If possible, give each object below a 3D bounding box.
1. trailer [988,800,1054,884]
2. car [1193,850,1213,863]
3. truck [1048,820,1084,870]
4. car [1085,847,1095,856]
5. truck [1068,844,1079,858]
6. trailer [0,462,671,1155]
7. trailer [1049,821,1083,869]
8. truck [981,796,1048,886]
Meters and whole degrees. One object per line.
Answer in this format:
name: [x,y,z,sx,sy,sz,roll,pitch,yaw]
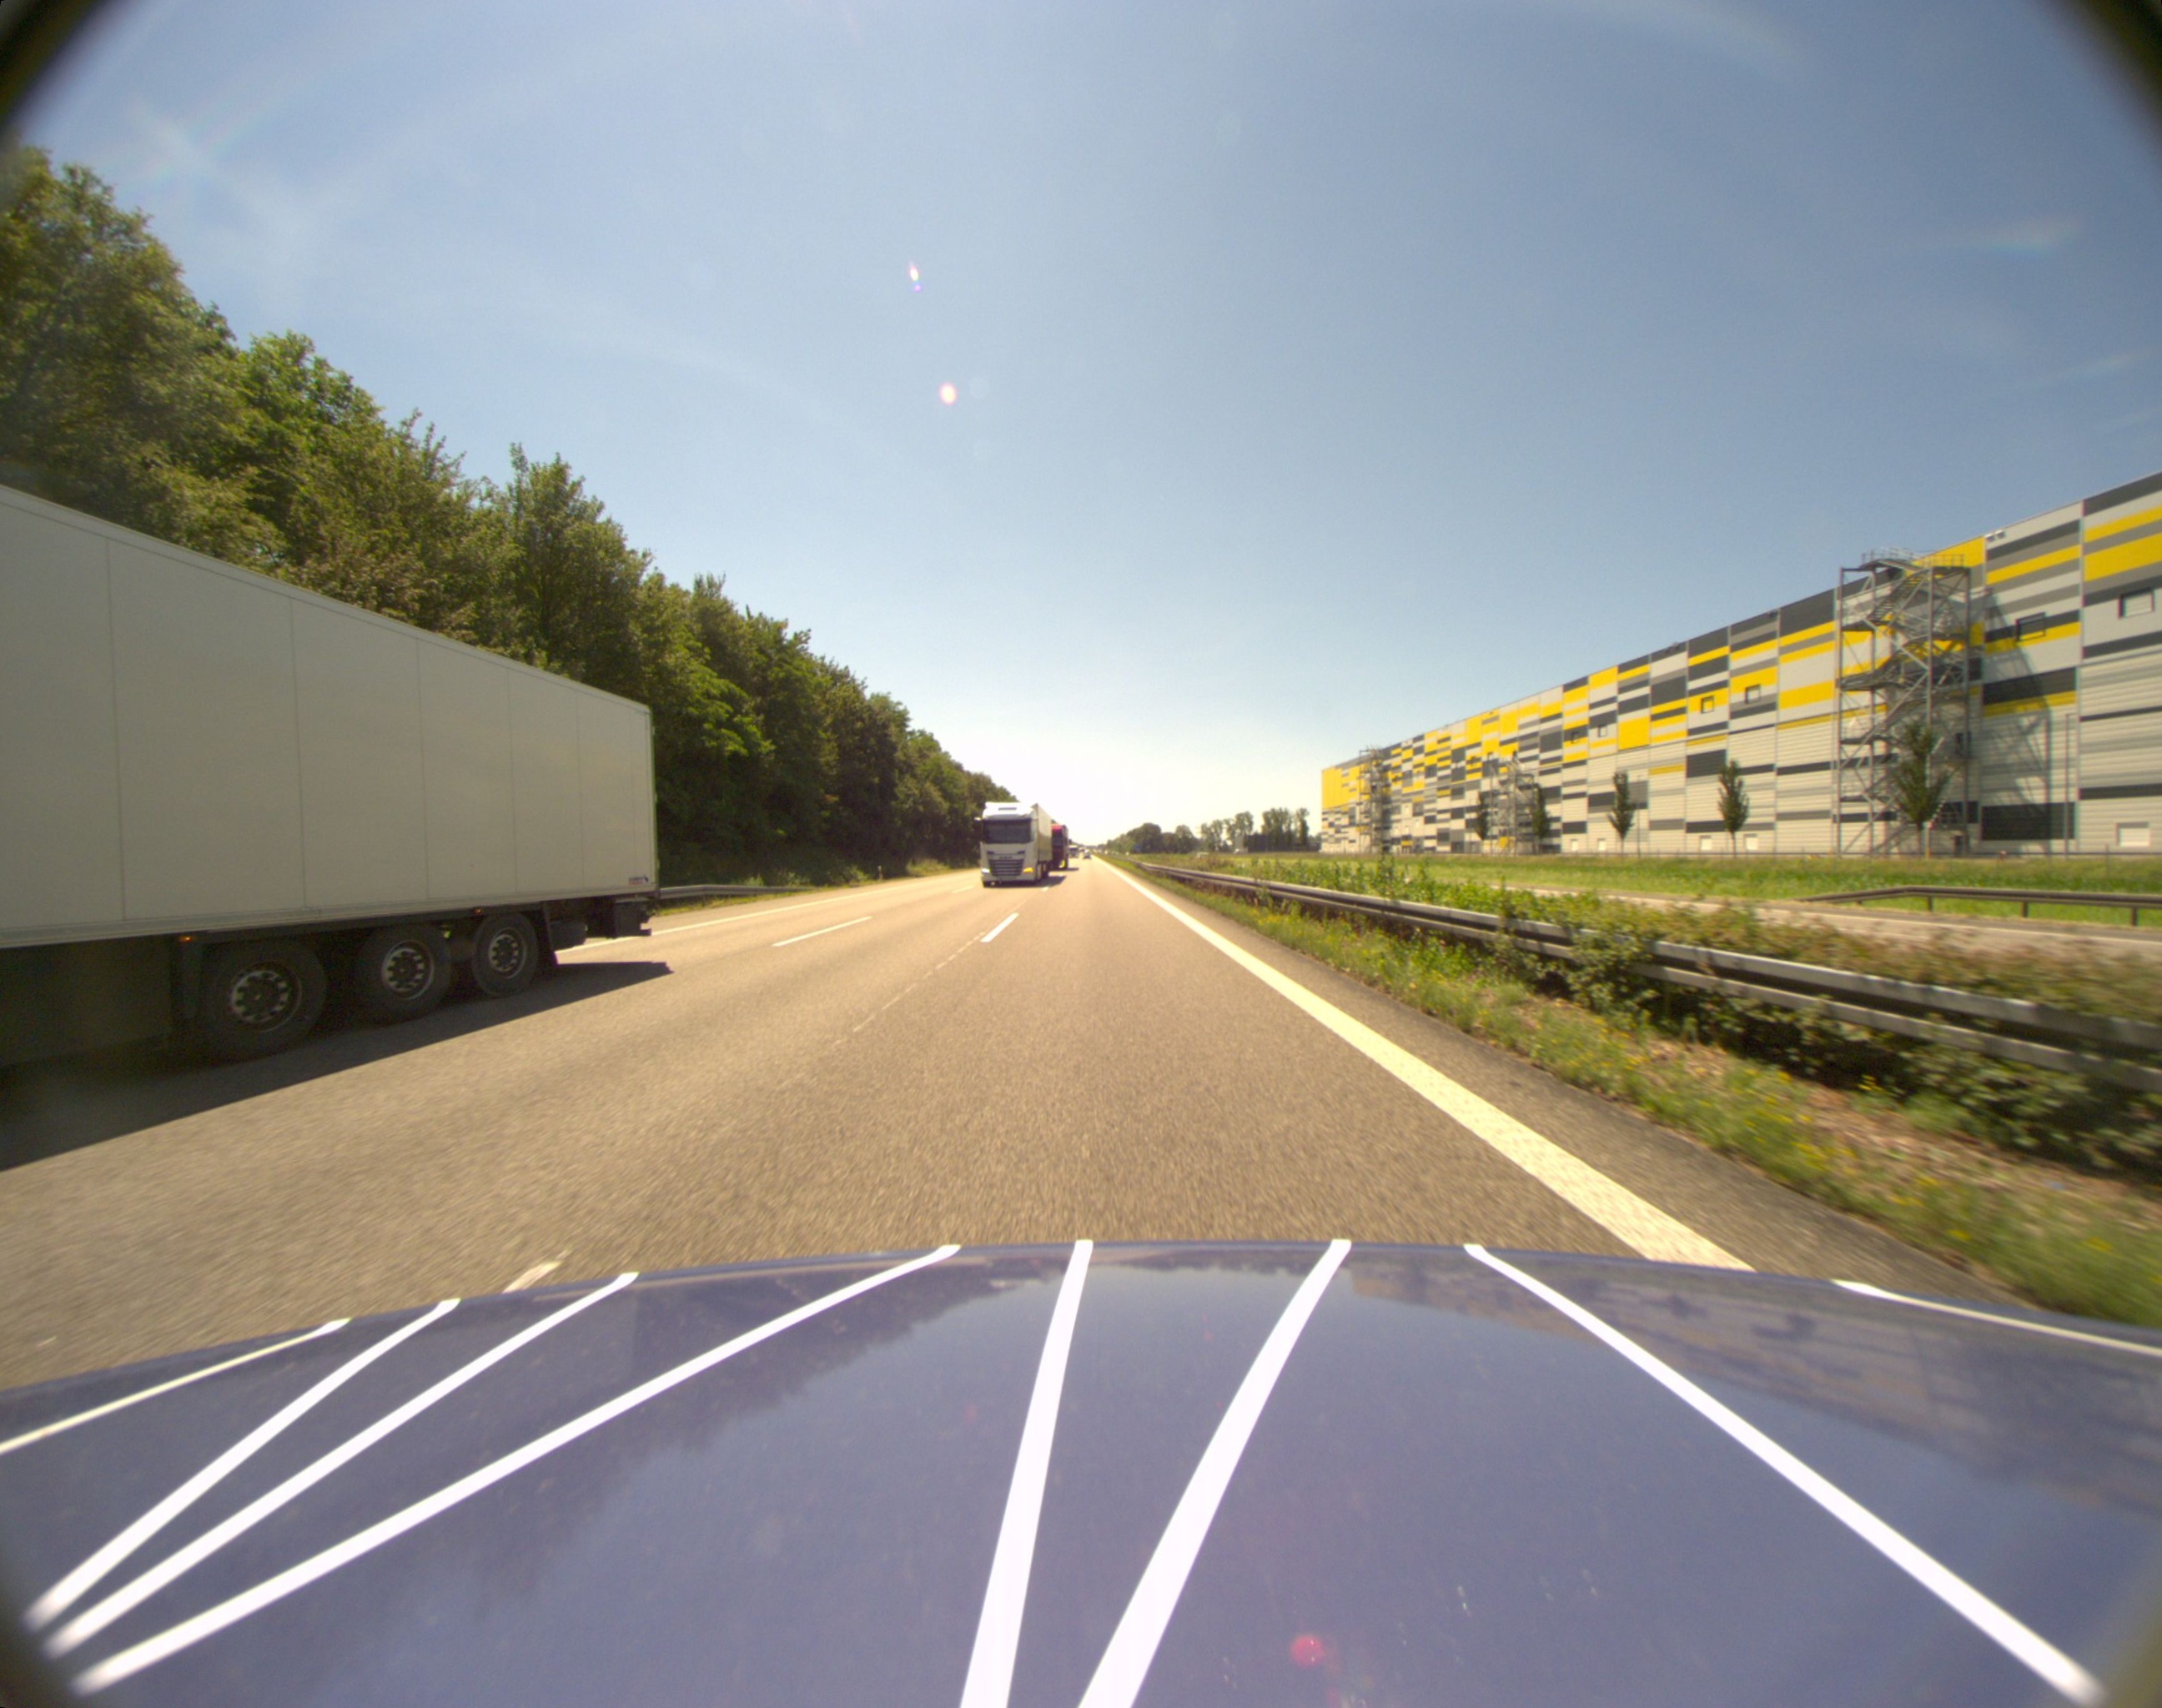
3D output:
trailer: [-3.209,-0.632,44.436,2.684,4.046,13.833,-2,0,0]
car: [14.789,0.272,92.203,1.637,1.419,4.660,1,0,0]
truck: [-1.293,-0.790,65.538,2.870,4.046,5.770,-2,1,-1]
car: [1.962,-0.610,162.370,2.073,1.959,5.109,0,0,-1]
truck: [-2.008,-0.856,213.624,2.999,4.046,5.770,-2,1,0]
trailer: [-8.060,-0.251,5.076,3.047,4.200,13.833,-2,0,0]
trailer: [-1.433,-0.804,72.478,2.885,4.046,13.832,-2,0,-1]
truck: [-3.190,-0.595,37.750,2.684,4.046,6.048,-2,1,0]
